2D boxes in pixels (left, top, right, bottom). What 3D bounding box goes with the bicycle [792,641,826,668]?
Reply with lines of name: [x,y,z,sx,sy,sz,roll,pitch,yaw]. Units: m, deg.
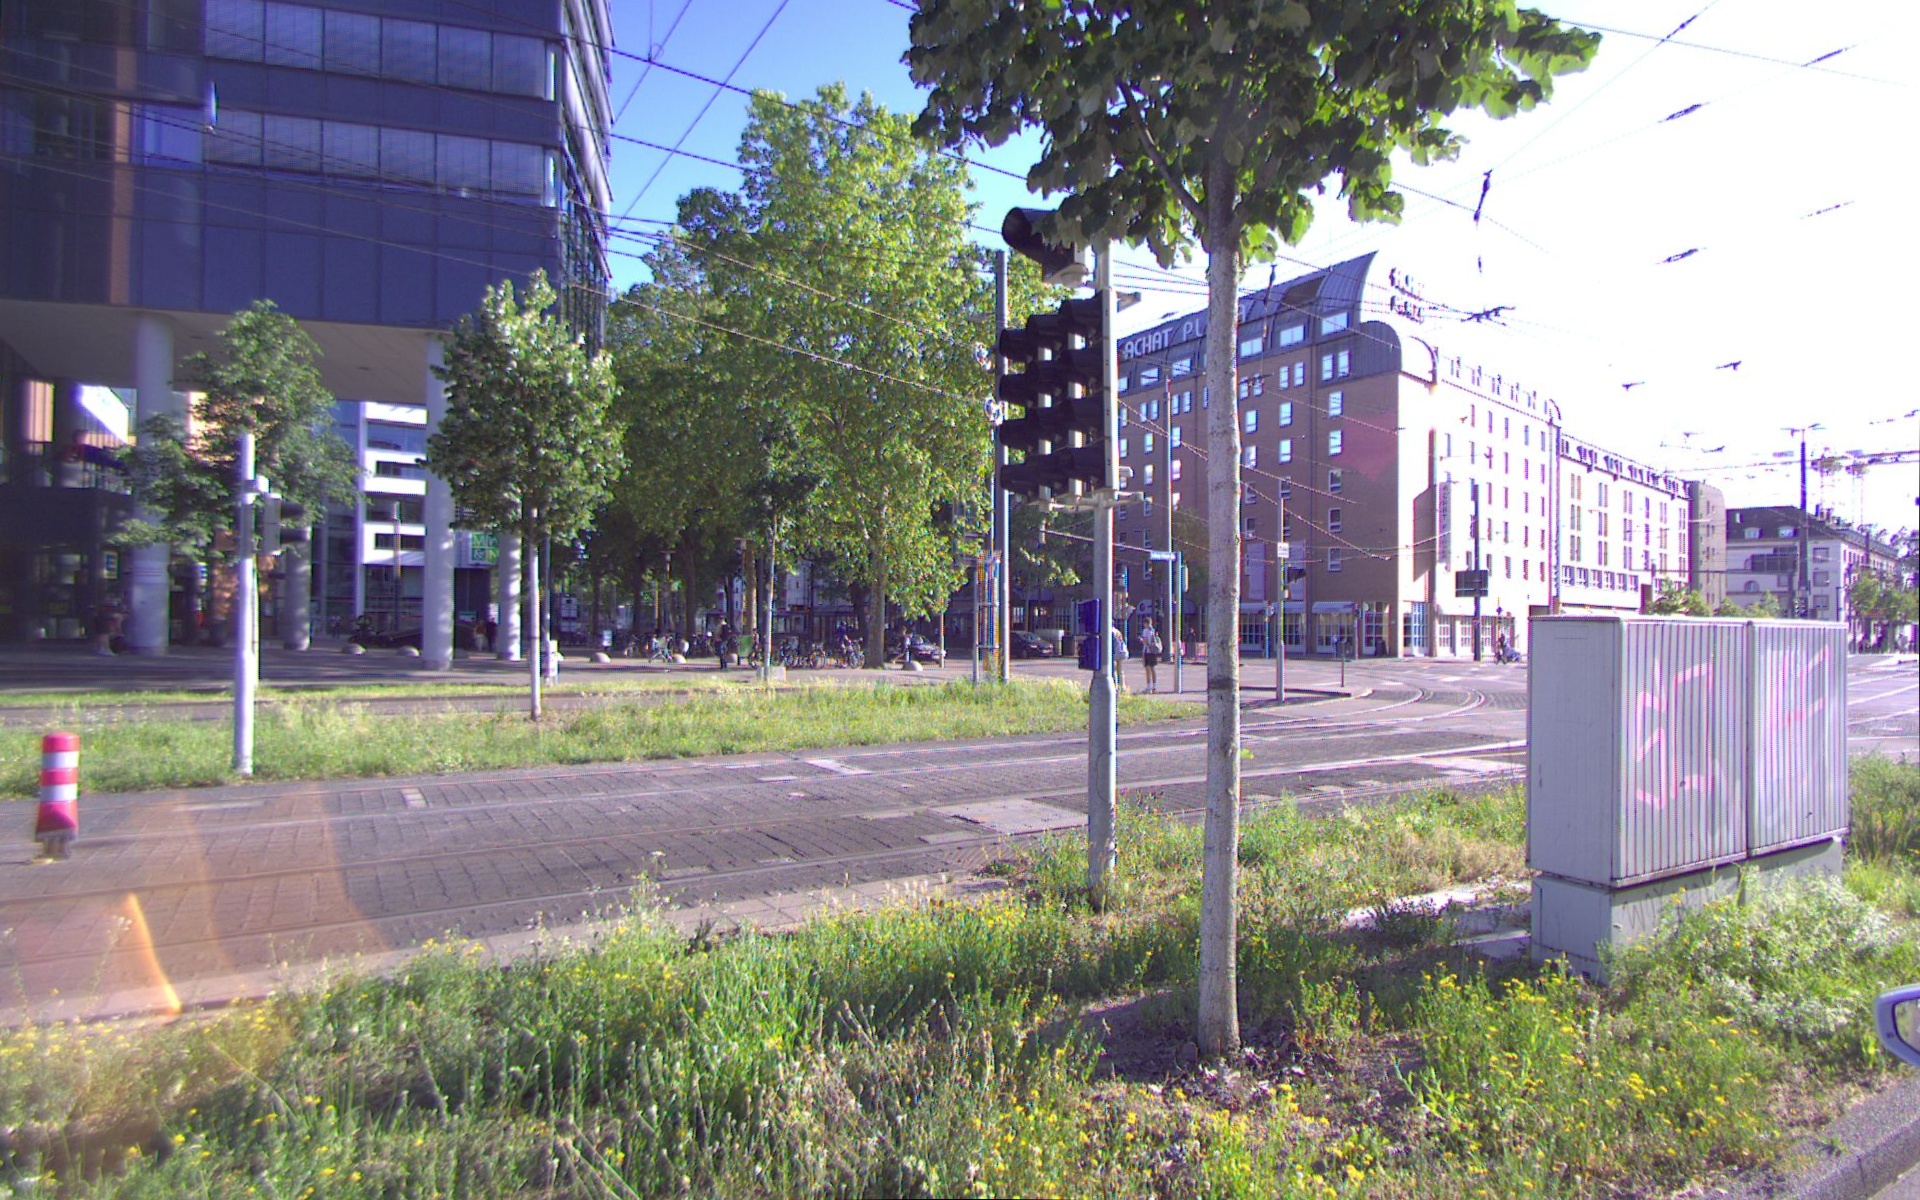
bicycle: [-5.821,2.090,38.565,0.536,0.964,1.753,1,-2,-36]

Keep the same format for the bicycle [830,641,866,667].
bicycle: [-4.290,2.058,38.415,0.536,0.964,1.753,1,-2,-36]

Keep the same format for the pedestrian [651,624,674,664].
pedestrian: [-12.663,1.855,42.727,0.826,1.667,0.730,1,-1,-25]

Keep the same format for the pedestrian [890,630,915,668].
pedestrian: [-2.529,2.157,44.073,0.832,1.619,0.692,1,0,-33]

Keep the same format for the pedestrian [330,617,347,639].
pedestrian: [-38.176,1.728,61.688,0.651,1.294,0.636,1,0,-13]

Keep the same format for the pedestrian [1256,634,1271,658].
pedestrian: [19.575,2.951,64.843,0.652,1.523,0.672,1,-1,-33]

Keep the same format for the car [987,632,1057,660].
car: [3.364,2.490,55.189,1.743,1.439,3.960,1,-2,-35]

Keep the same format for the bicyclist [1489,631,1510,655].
bicyclist: [31.542,2.515,58.719,0.942,1.393,0.752,1,-1,-37]

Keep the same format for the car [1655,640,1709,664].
car: [45.481,3.238,63.242,3.960,1.468,1.563,2,-2,-35]

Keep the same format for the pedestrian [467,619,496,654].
pedestrian: [-23.652,1.799,49.696,1.091,1.730,0.789,1,0,-13]

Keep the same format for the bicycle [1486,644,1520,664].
bicycle: [31.878,3.149,58.952,2.900,1.099,0.645,2,-2,-38]

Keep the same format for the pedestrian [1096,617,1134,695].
pedestrian: [3.788,1.357,24.523,0.656,1.854,0.627,1,-1,-36]

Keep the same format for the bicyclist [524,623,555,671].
bicyclist: [-13.378,1.475,31.944,0.673,1.484,1.006,1,-2,-36]

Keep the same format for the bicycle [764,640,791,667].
bicycle: [-6.979,2.039,38.463,0.530,0.964,1.772,1,-1,7]

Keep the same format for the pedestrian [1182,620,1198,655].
pedestrian: [13.519,2.229,59.088,0.669,2.040,0.663,1,-1,-29]

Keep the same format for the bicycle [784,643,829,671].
bicycle: [-5.652,2.085,36.952,1.742,0.964,0.540,0,-1,34]

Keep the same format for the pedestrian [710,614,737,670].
pedestrian: [-8.706,1.539,36.972,0.826,2.040,0.730,1,0,-25]

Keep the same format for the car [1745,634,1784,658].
car: [53.399,3.046,66.662,1.726,1.524,3.858,-1,-2,43]

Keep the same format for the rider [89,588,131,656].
rider: [-23.137,0.609,27.344,0.704,1.826,0.715,1,-1,-29]

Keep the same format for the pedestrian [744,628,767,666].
pedestrian: [-8.862,2.039,43.496,0.826,1.619,0.730,1,0,-25]

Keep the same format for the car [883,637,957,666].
car: [-2.005,2.489,49.138,1.977,1.283,3.968,1,-2,-30]

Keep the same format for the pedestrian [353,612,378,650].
pedestrian: [-28.214,1.471,47.698,0.794,1.730,0.789,1,0,-13]

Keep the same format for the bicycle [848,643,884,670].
bicycle: [-3.637,2.159,38.729,0.536,0.964,1.753,1,-2,-36]

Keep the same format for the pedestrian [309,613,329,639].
pedestrian: [-38.379,1.536,60.166,0.647,1.500,1.053,1,0,-13]

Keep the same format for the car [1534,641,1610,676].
car: [30.581,2.893,50.170,4.702,1.617,1.976,2,-2,-41]

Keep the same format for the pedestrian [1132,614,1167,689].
pedestrian: [4.746,1.271,25.128,0.656,1.841,0.559,1,-1,-36]

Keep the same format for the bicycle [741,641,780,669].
bicycle: [-7.340,2.012,36.906,0.538,0.964,1.748,2,-2,-44]

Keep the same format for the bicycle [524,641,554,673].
bicycle: [-13.388,1.796,31.922,0.494,0.922,1.870,2,-2,-34]
